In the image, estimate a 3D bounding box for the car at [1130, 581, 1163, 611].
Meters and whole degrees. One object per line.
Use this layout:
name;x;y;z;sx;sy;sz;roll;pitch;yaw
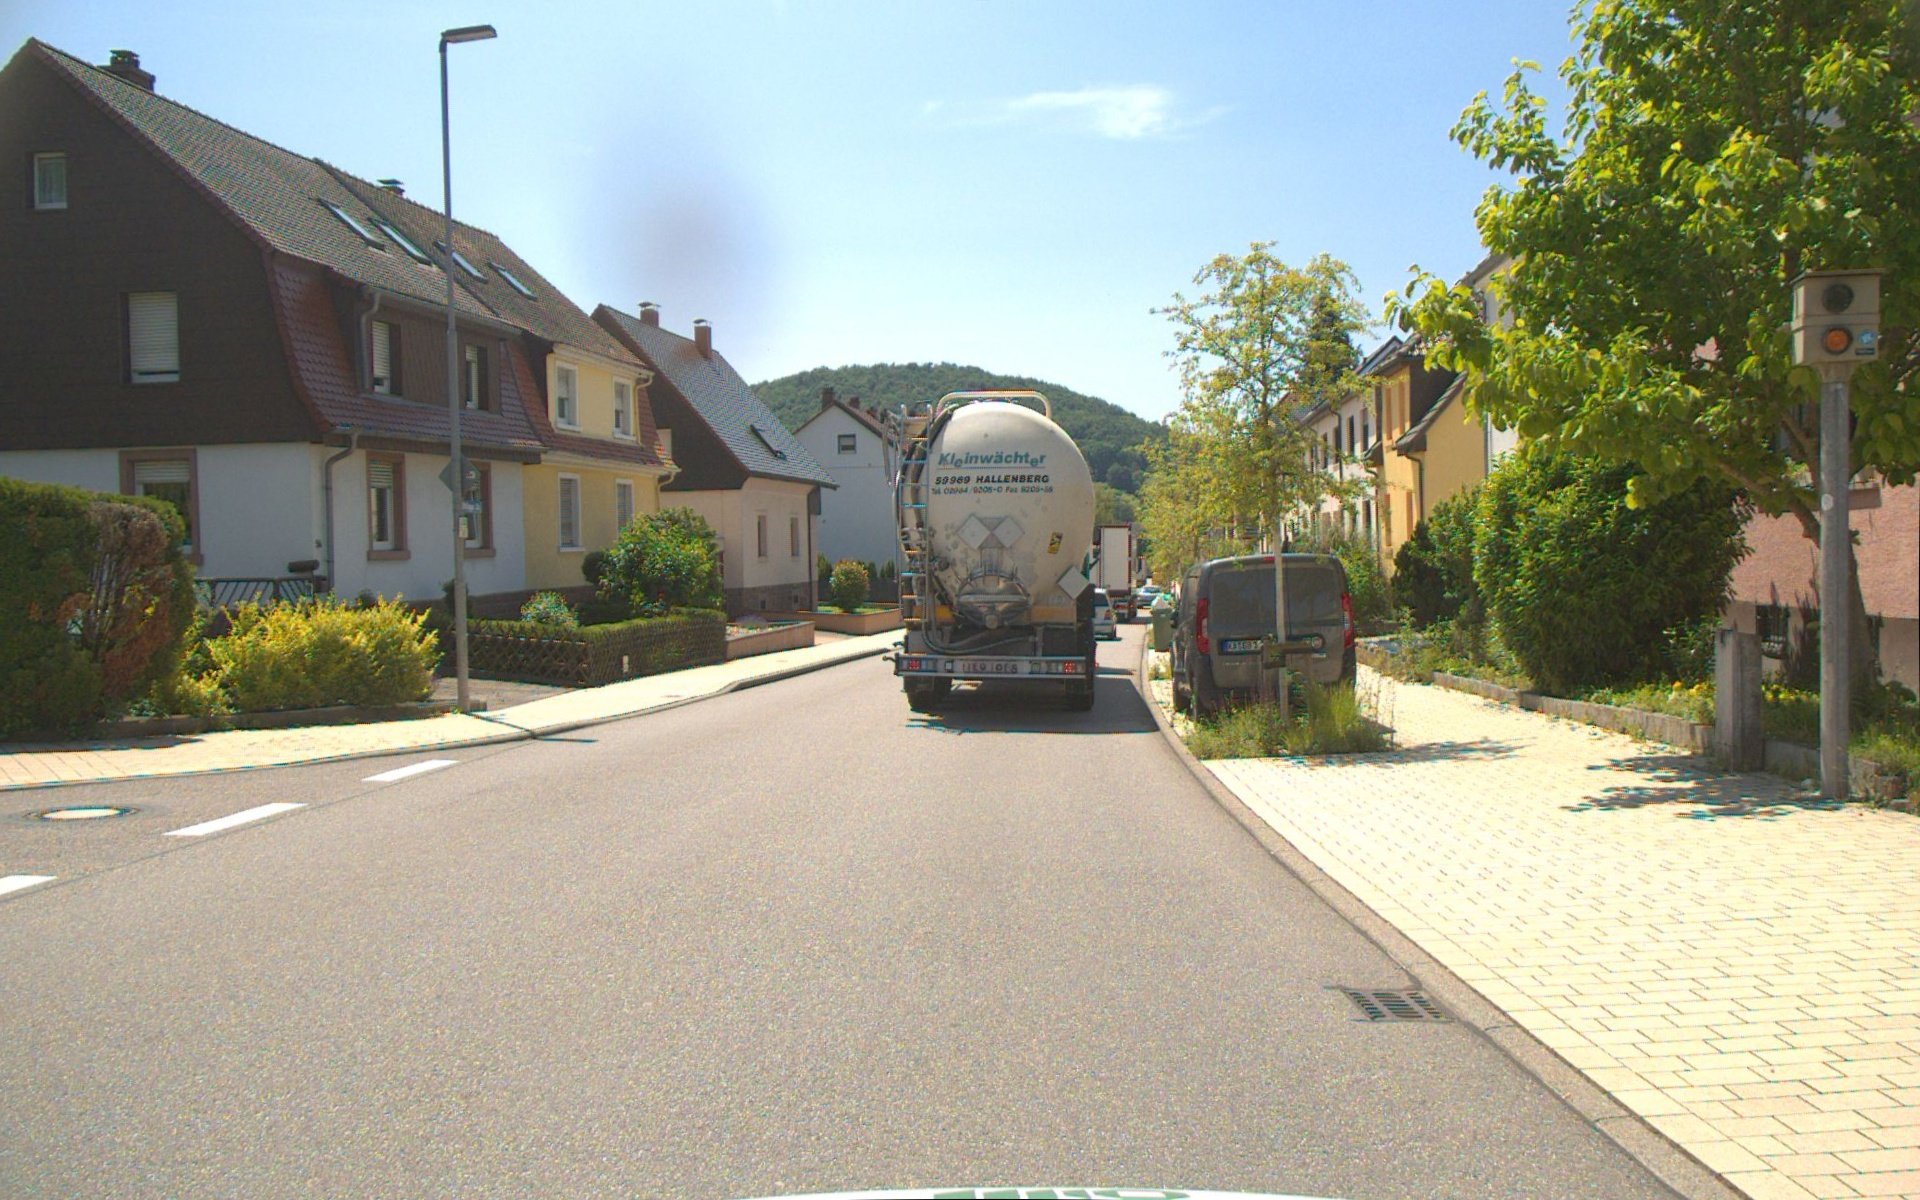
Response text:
car;11.673;-0.240;103.617;1.951;1.853;4.002;0;0;5

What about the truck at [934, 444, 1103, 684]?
truck;1.228;-0.660;30.776;2.749;4.005;6.103;0;1;5

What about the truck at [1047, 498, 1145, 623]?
truck;5.981;-1.672;72.802;3.828;4.981;9.802;-2;0;5

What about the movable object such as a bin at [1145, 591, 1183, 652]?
movable object such as a bin;5.015;0.514;40.642;0.775;1.419;0.926;-5;0;4

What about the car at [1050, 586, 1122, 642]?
car;3.949;0.394;51.211;1.868;1.581;4.004;-2;0;9

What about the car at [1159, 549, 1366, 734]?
car;3.436;0.410;19.585;1.816;1.874;4.673;-2;0;4

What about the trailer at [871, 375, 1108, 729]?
trailer;0.688;-0.629;24.262;2.737;4.070;10.330;0;1;4
